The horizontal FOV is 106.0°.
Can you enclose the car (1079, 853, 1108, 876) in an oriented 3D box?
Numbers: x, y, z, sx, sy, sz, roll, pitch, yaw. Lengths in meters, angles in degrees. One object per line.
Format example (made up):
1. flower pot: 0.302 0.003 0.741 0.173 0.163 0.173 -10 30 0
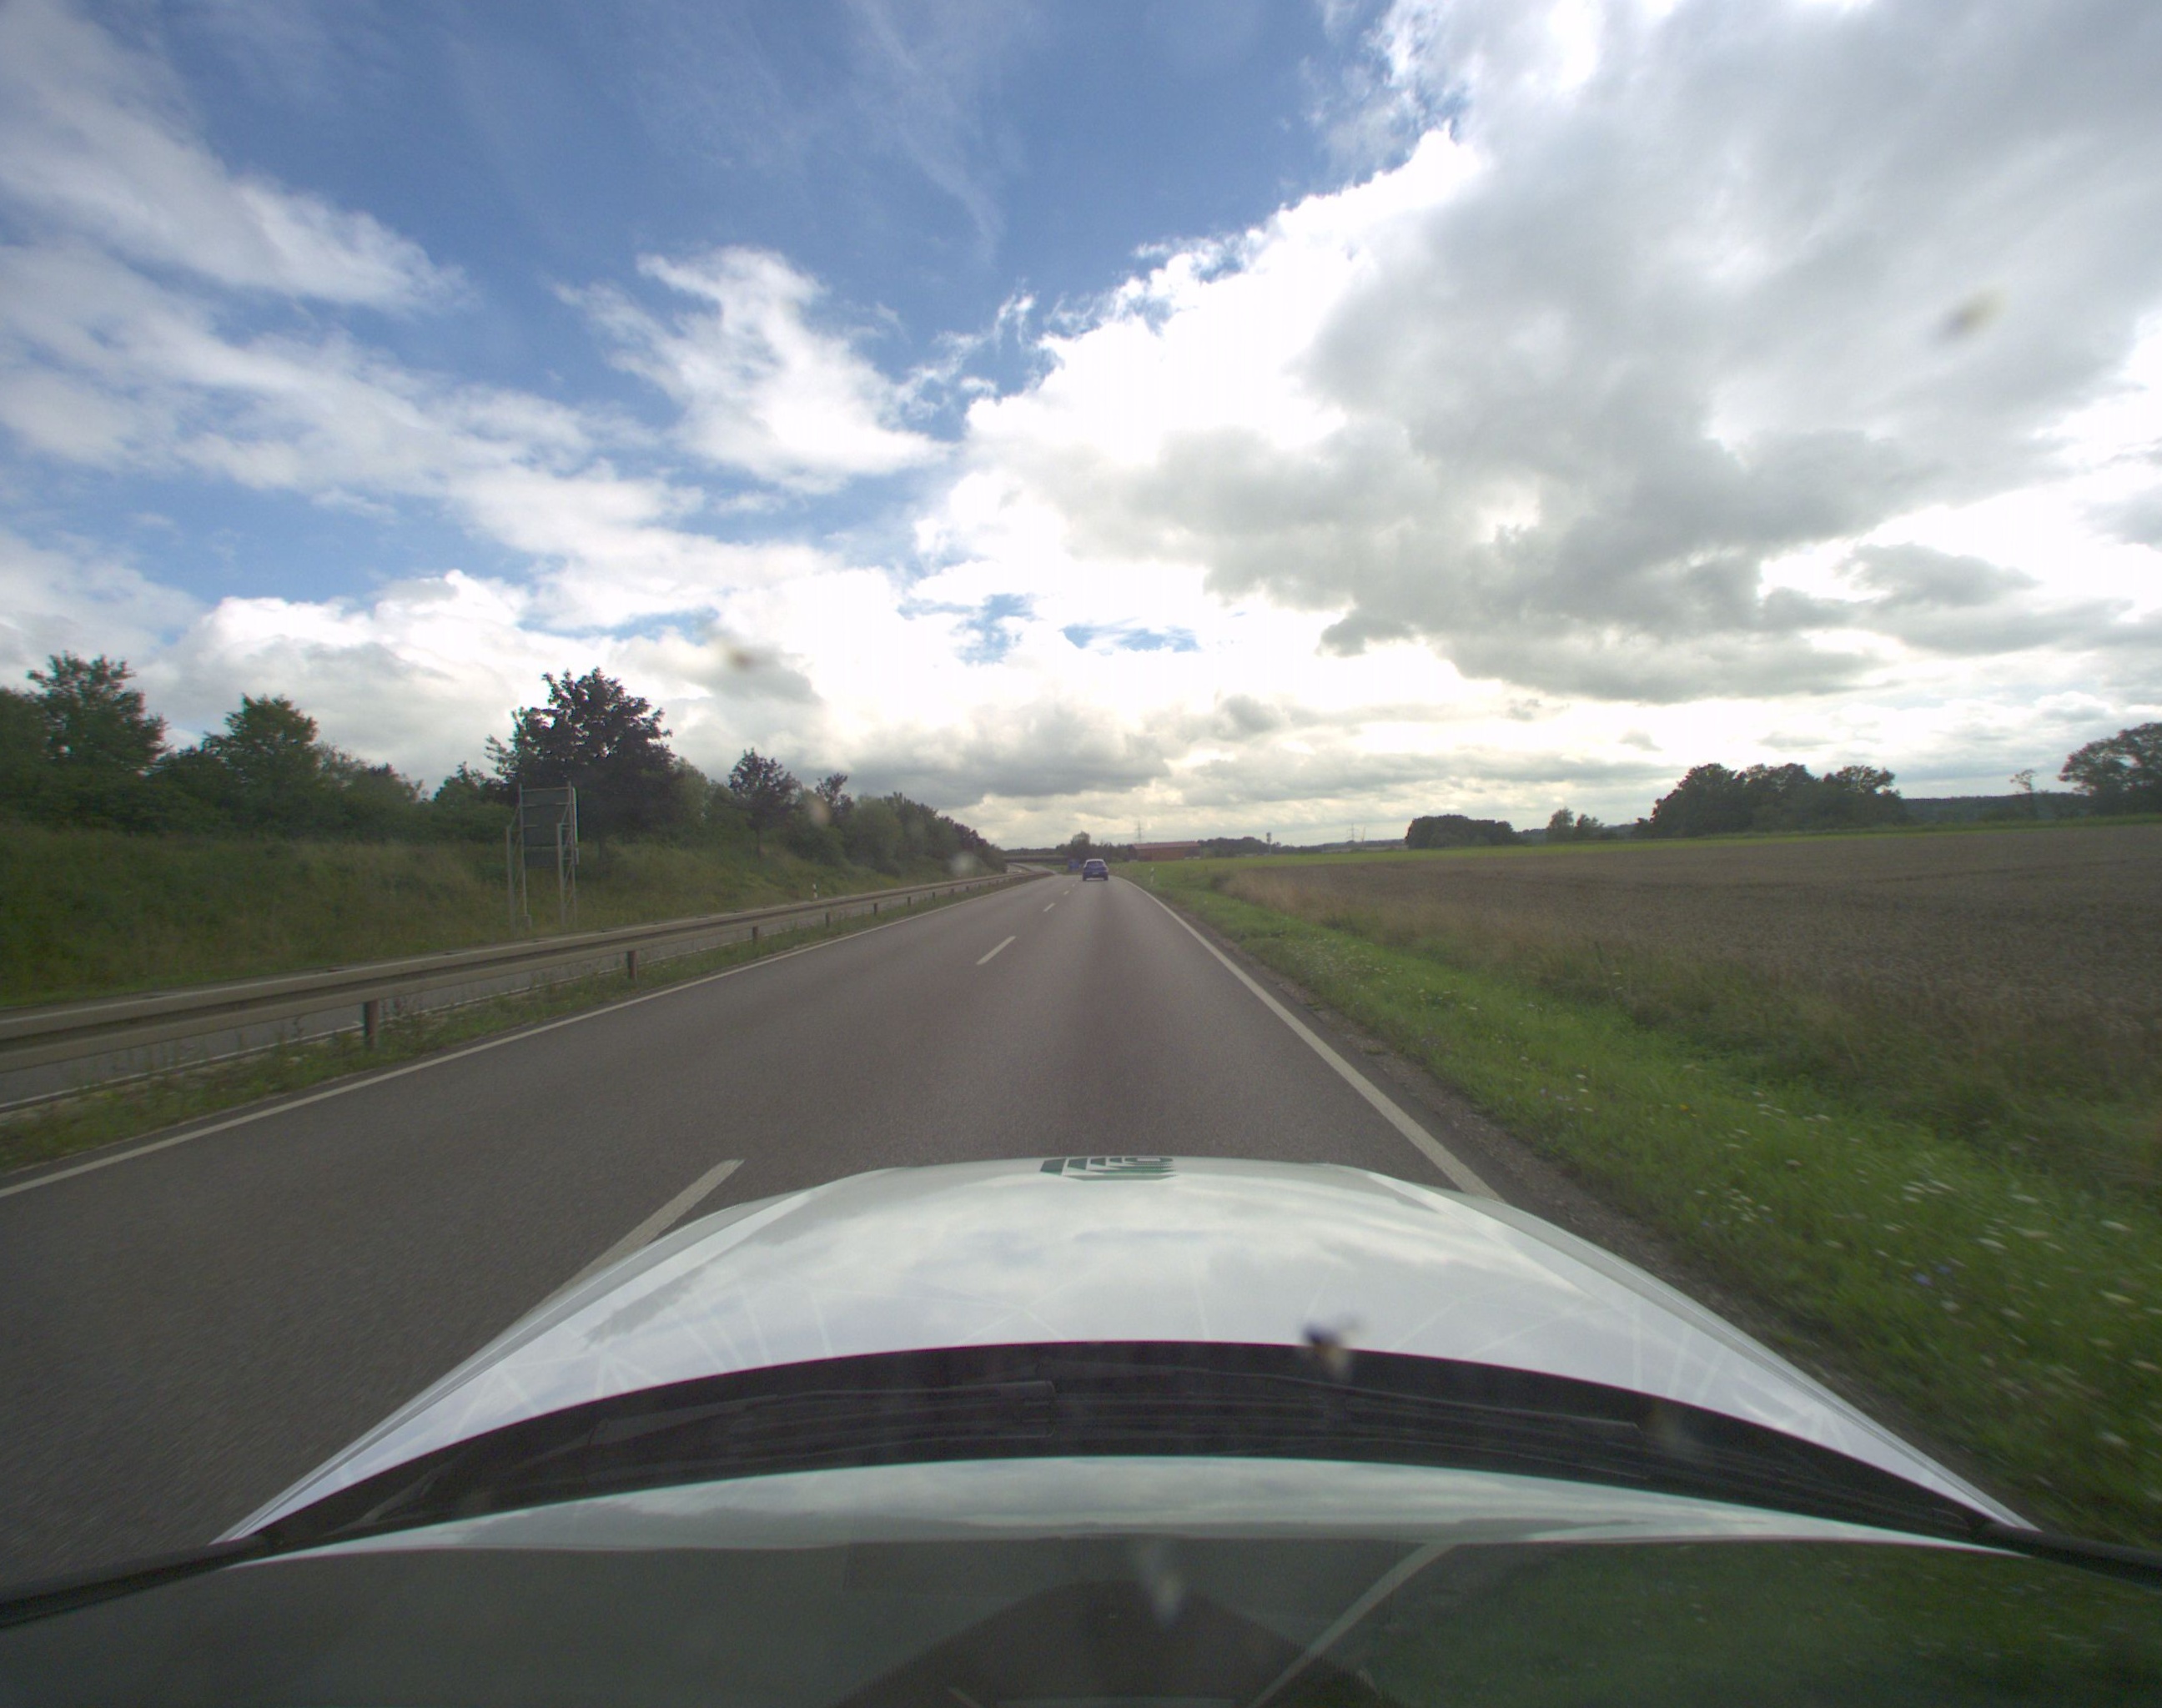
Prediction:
1. car: 1.021 0.813 62.965 2.025 1.660 4.546 -1 0 3
